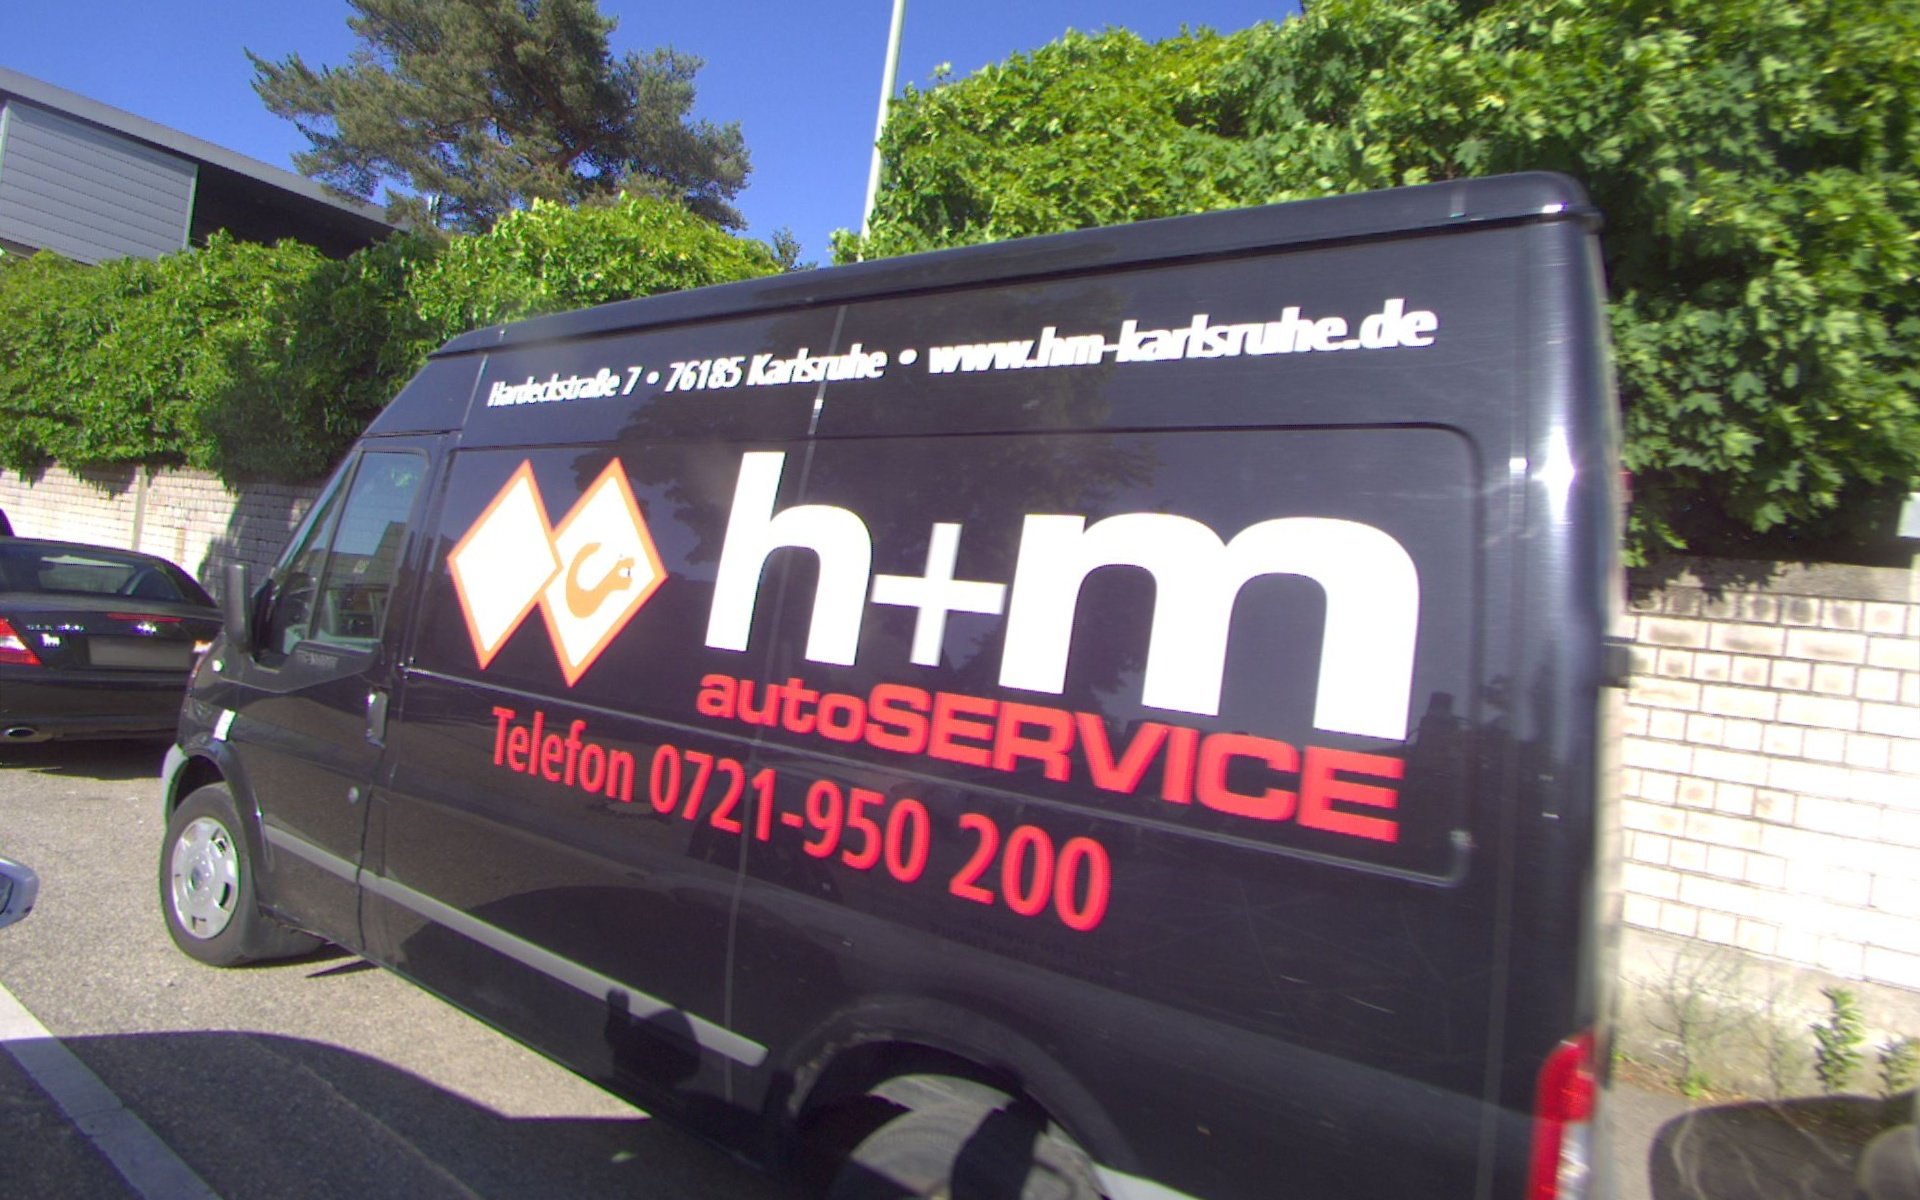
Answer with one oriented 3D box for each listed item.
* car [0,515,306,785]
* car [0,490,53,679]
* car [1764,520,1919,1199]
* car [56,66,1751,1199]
[{"bbox_3d":[-6.350,0.152,6.813,4.037,1.334,1.656,7,-1,33],"label":"car"},{"bbox_3d":[-10.391,-0.405,9.425,4.137,1.632,1.685,7,-2,33],"label":"car"},{"bbox_3d":[3.790,1.024,0.610,4.841,1.949,1.894,7,0,33],"label":"car"},{"bbox_3d":[-0.823,0.355,3.354,5.062,2.287,1.894,7,0,33],"label":"car"}]
